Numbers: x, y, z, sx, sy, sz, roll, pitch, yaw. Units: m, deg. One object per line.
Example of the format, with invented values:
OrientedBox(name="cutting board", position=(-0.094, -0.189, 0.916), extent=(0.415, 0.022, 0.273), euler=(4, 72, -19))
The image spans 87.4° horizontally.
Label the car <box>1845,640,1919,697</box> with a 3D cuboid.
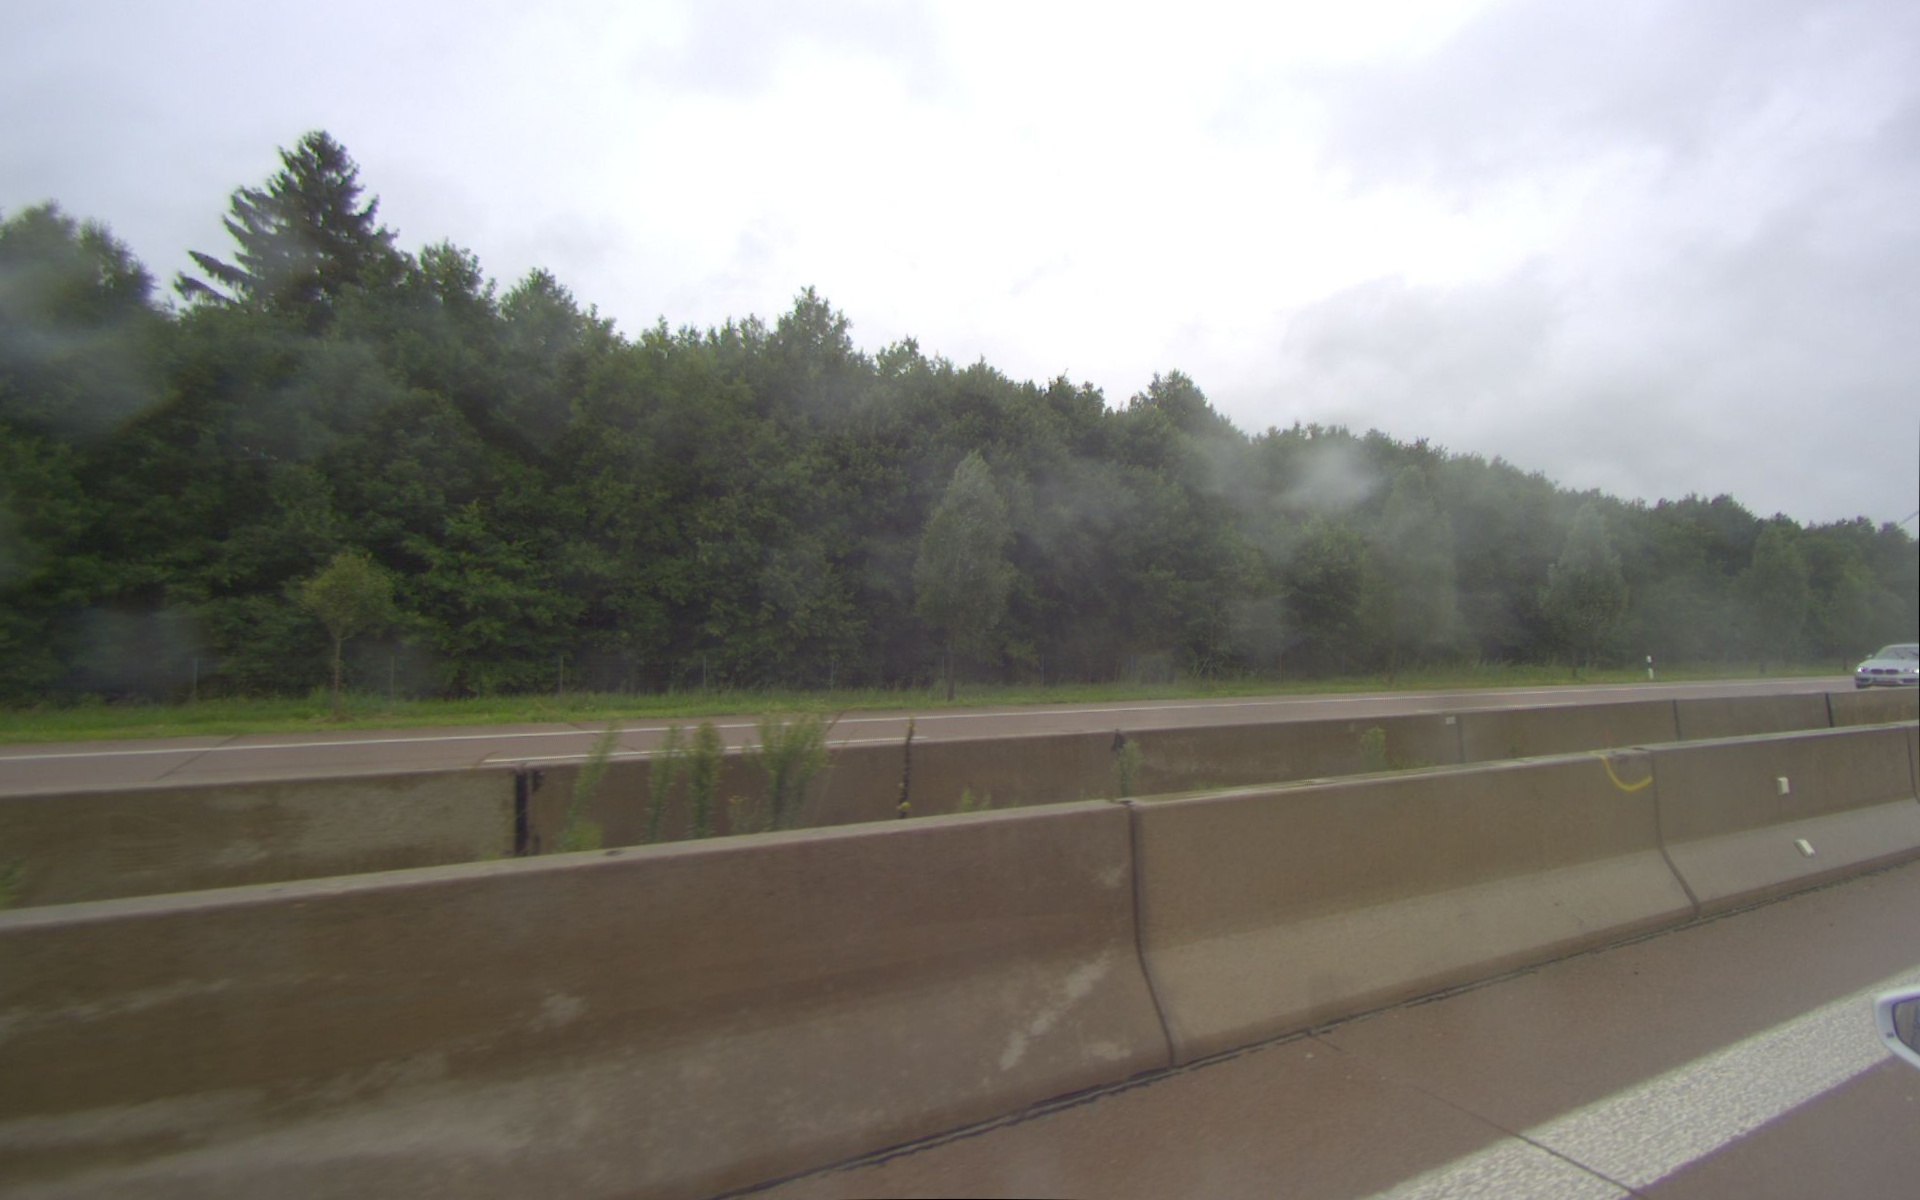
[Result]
OrientedBox(name="car", position=(29.363, 2.064, 31.057), extent=(4.456, 1.653, 1.799), euler=(1, -3, -32))
